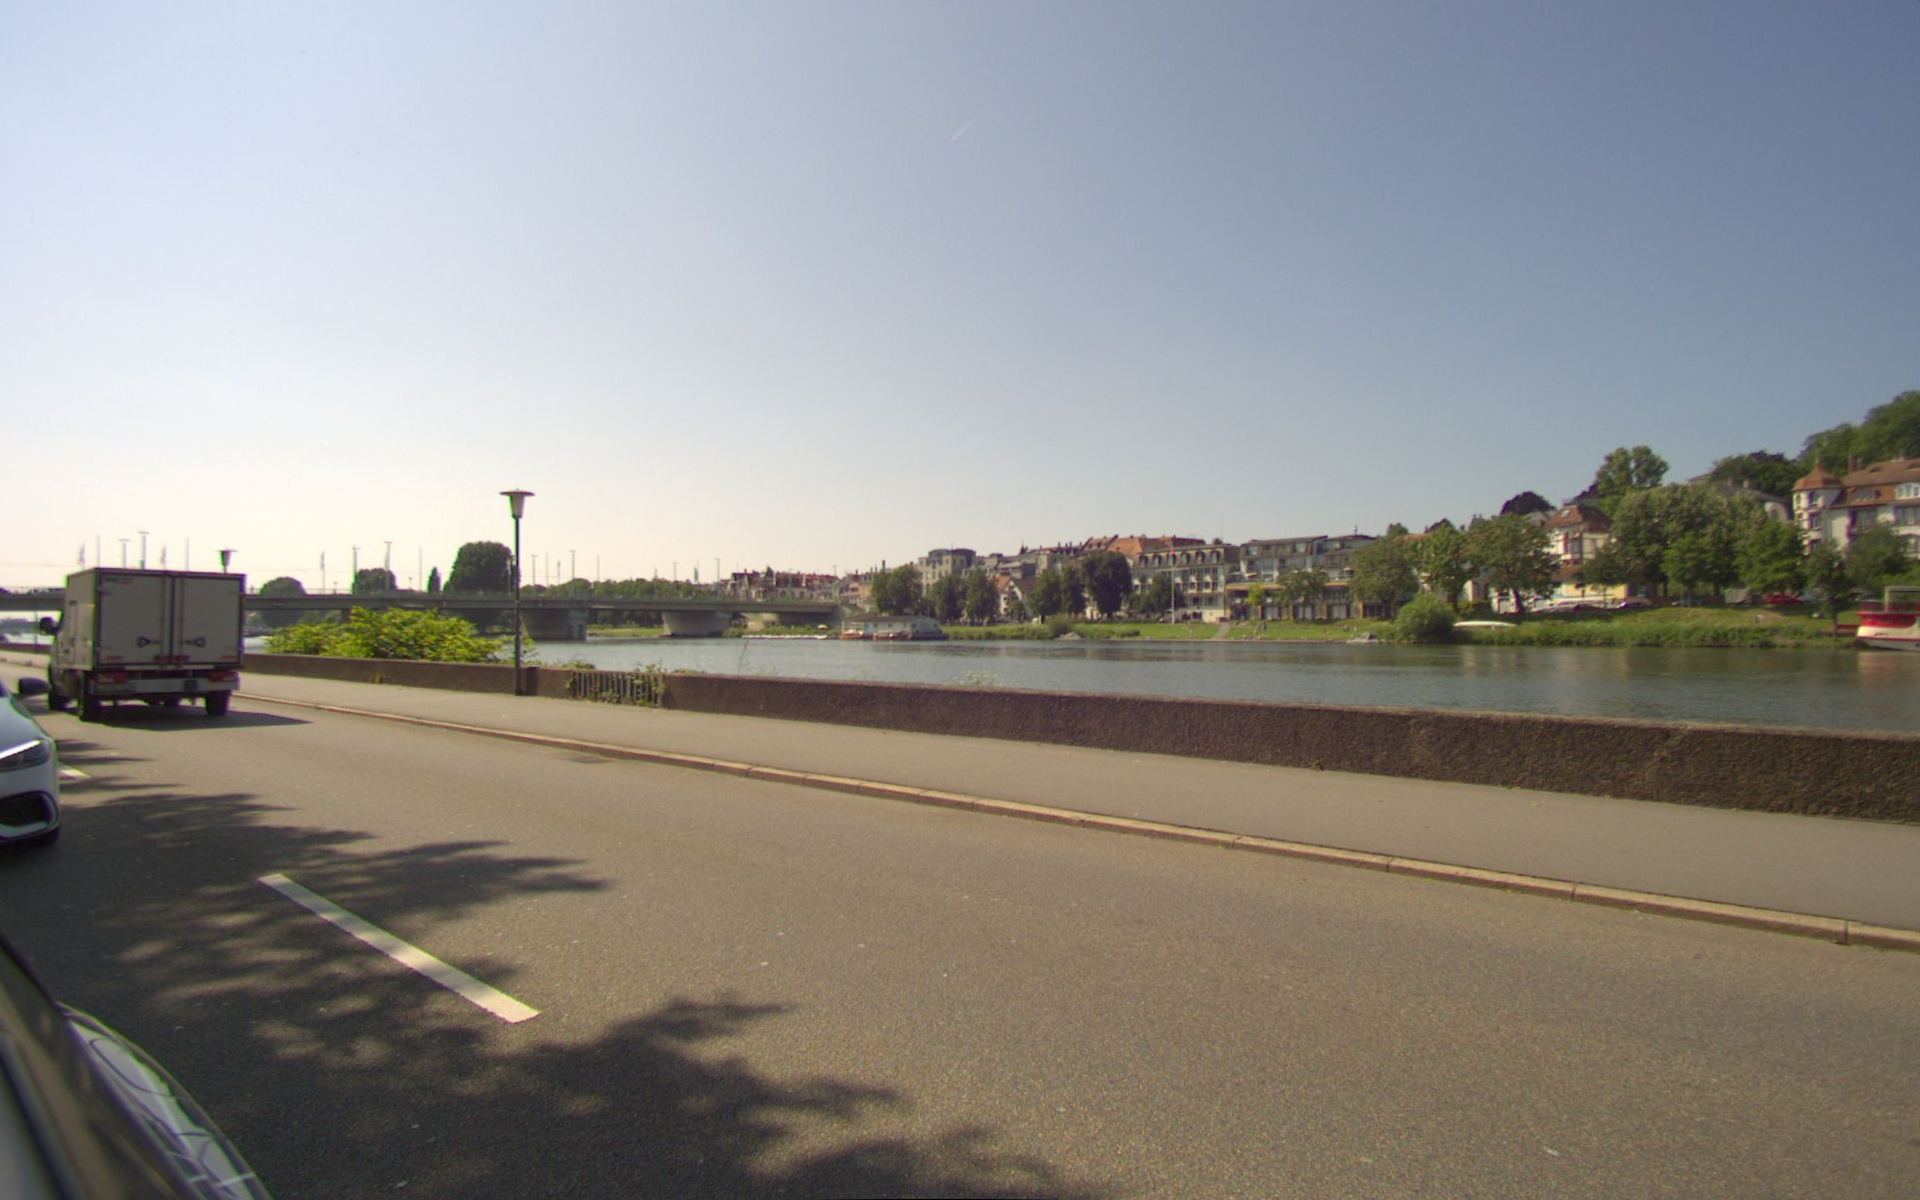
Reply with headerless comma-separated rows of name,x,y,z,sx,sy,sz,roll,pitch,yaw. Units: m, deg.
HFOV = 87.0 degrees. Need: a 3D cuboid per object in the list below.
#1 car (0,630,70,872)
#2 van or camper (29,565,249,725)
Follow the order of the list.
car,-7.810,0.972,7.085,4.550,1.430,1.807,-2,-1,41
van or camper,-14.602,0.776,17.875,5.381,2.417,2.055,-2,-3,41
